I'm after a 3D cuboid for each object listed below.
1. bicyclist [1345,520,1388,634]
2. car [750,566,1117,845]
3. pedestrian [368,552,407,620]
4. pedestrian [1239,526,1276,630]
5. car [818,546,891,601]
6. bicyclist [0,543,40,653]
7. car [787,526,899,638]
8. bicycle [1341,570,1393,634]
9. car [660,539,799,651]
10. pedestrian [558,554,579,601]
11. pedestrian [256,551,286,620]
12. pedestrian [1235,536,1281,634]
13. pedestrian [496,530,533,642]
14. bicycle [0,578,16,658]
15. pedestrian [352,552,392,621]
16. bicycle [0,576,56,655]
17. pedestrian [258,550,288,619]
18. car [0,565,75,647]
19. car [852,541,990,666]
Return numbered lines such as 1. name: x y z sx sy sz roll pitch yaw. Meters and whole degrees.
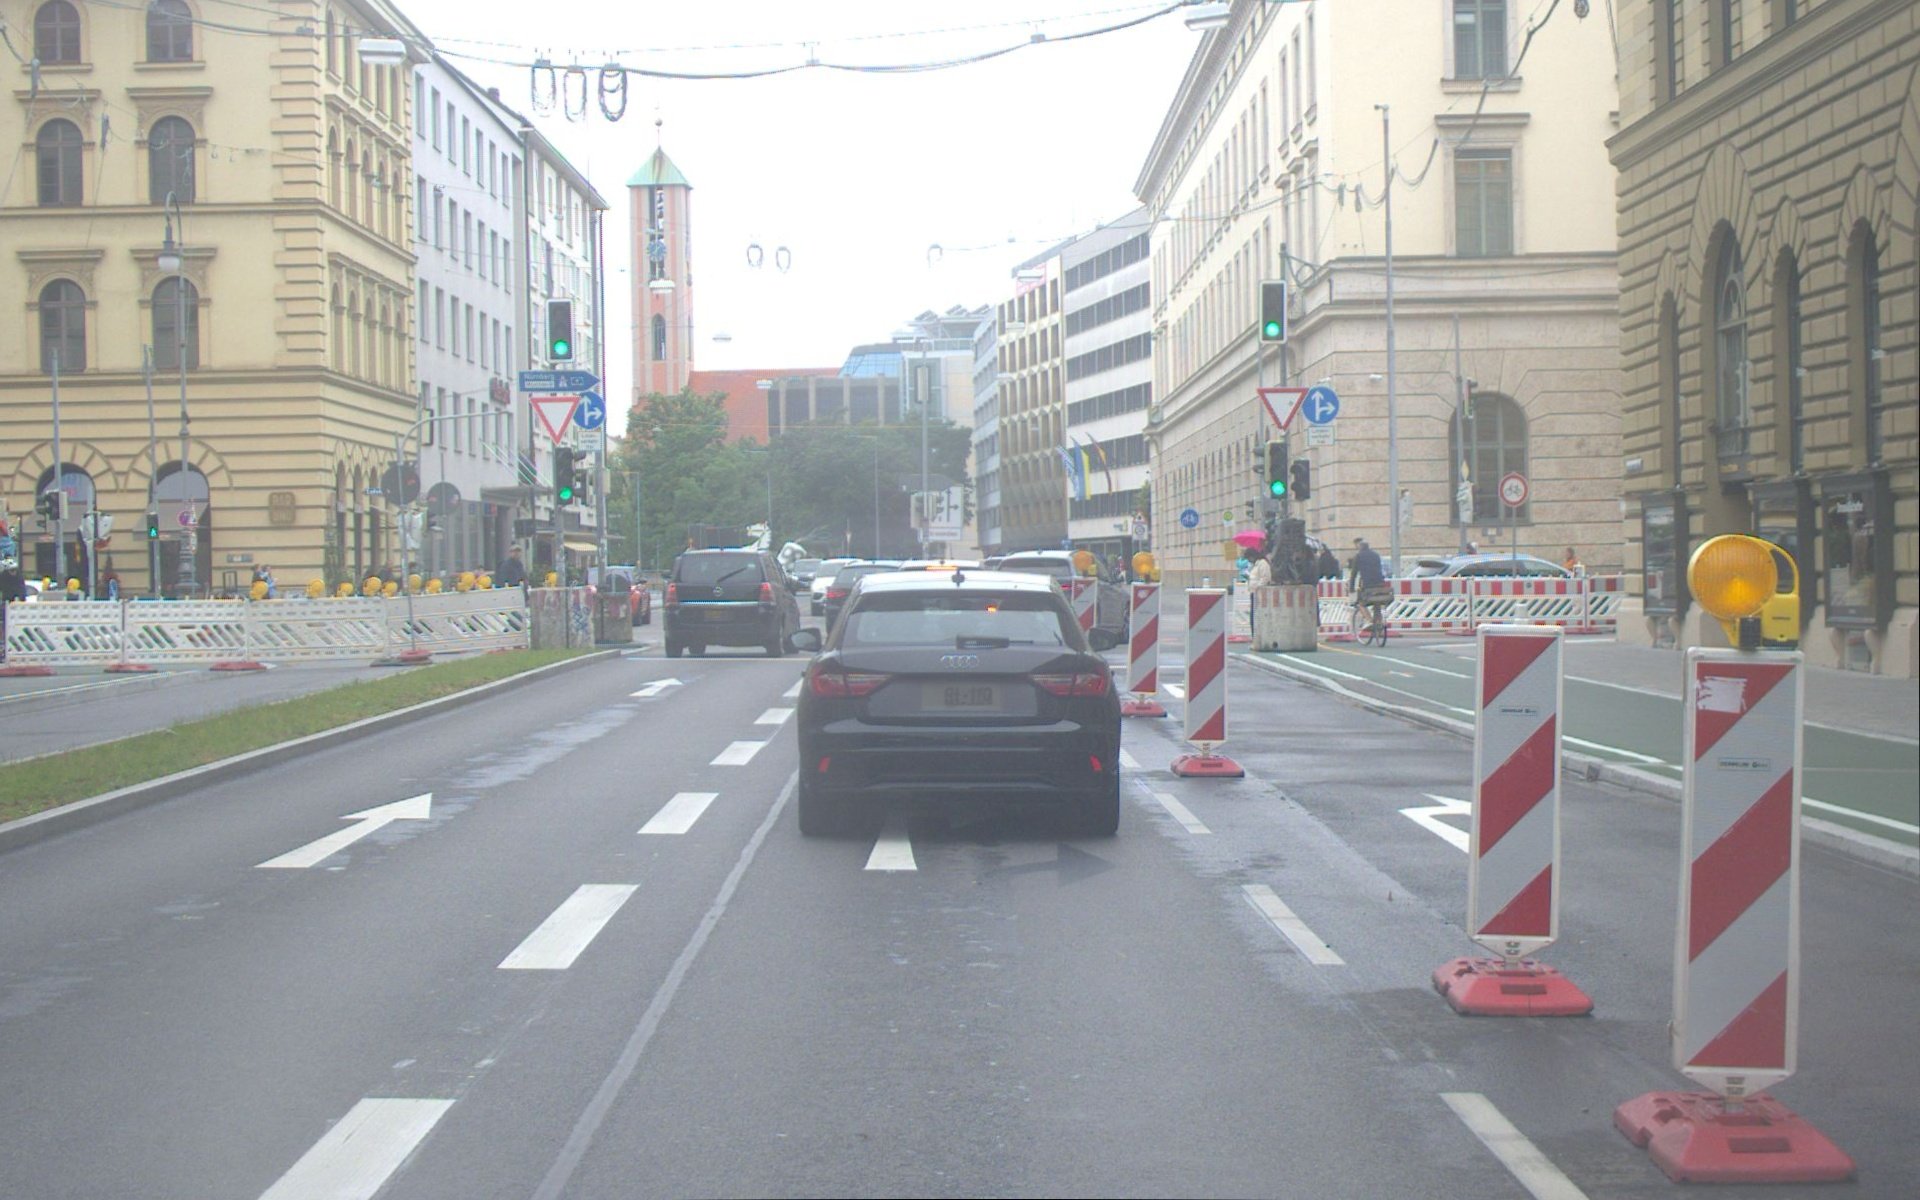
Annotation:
1. bicyclist: 6.627 -0.377 56.048 0.566 1.847 0.799 0 1 -3
2. car: -0.154 0.517 19.480 1.863 1.383 4.000 0 1 0
3. pedestrian: -14.872 -0.375 89.357 0.734 1.766 0.738 0 1 21
4. pedestrian: 4.630 -0.348 53.600 0.531 1.614 0.674 0 1 2
5. car: -3.020 -0.780 98.898 1.993 1.519 4.233 -1 1 -1
6. bicyclist: -15.514 -0.040 56.089 0.798 1.770 0.689 0 1 4
7. car: -2.164 -0.360 64.579 1.993 2.007 4.000 -1 1 -1
8. bicycle: 6.625 0.026 56.047 0.585 1.008 1.657 0 1 -2
9. car: -3.438 -0.104 51.863 1.865 1.596 3.851 -1 1 -1
10. pedestrian: -14.742 -0.846 129.516 0.737 1.766 0.736 0 1 -1
11. pedestrian: -17.600 -0.369 87.800 0.733 1.766 0.739 0 1 -10
12. pedestrian: 4.815 -0.246 55.527 0.702 1.562 0.541 0 1 2
13. pedestrian: -6.990 -0.220 53.936 0.512 1.737 1.043 -1 1 -10
14. bicycle: -15.432 0.294 53.269 0.787 1.238 2.448 0 1 4
15. pedestrian: -15.157 -0.364 88.610 0.734 1.766 0.760 0 1 21
16. bicycle: -15.522 0.247 56.162 0.787 1.238 2.199 0 1 4
17. pedestrian: -17.689 -0.398 88.546 0.733 1.766 0.739 0 1 -10
18. car: -21.875 0.156 77.204 3.739 1.792 1.869 -1 1 -11
19. car: -0.564 0.014 46.340 1.769 1.611 4.000 0 1 -2
